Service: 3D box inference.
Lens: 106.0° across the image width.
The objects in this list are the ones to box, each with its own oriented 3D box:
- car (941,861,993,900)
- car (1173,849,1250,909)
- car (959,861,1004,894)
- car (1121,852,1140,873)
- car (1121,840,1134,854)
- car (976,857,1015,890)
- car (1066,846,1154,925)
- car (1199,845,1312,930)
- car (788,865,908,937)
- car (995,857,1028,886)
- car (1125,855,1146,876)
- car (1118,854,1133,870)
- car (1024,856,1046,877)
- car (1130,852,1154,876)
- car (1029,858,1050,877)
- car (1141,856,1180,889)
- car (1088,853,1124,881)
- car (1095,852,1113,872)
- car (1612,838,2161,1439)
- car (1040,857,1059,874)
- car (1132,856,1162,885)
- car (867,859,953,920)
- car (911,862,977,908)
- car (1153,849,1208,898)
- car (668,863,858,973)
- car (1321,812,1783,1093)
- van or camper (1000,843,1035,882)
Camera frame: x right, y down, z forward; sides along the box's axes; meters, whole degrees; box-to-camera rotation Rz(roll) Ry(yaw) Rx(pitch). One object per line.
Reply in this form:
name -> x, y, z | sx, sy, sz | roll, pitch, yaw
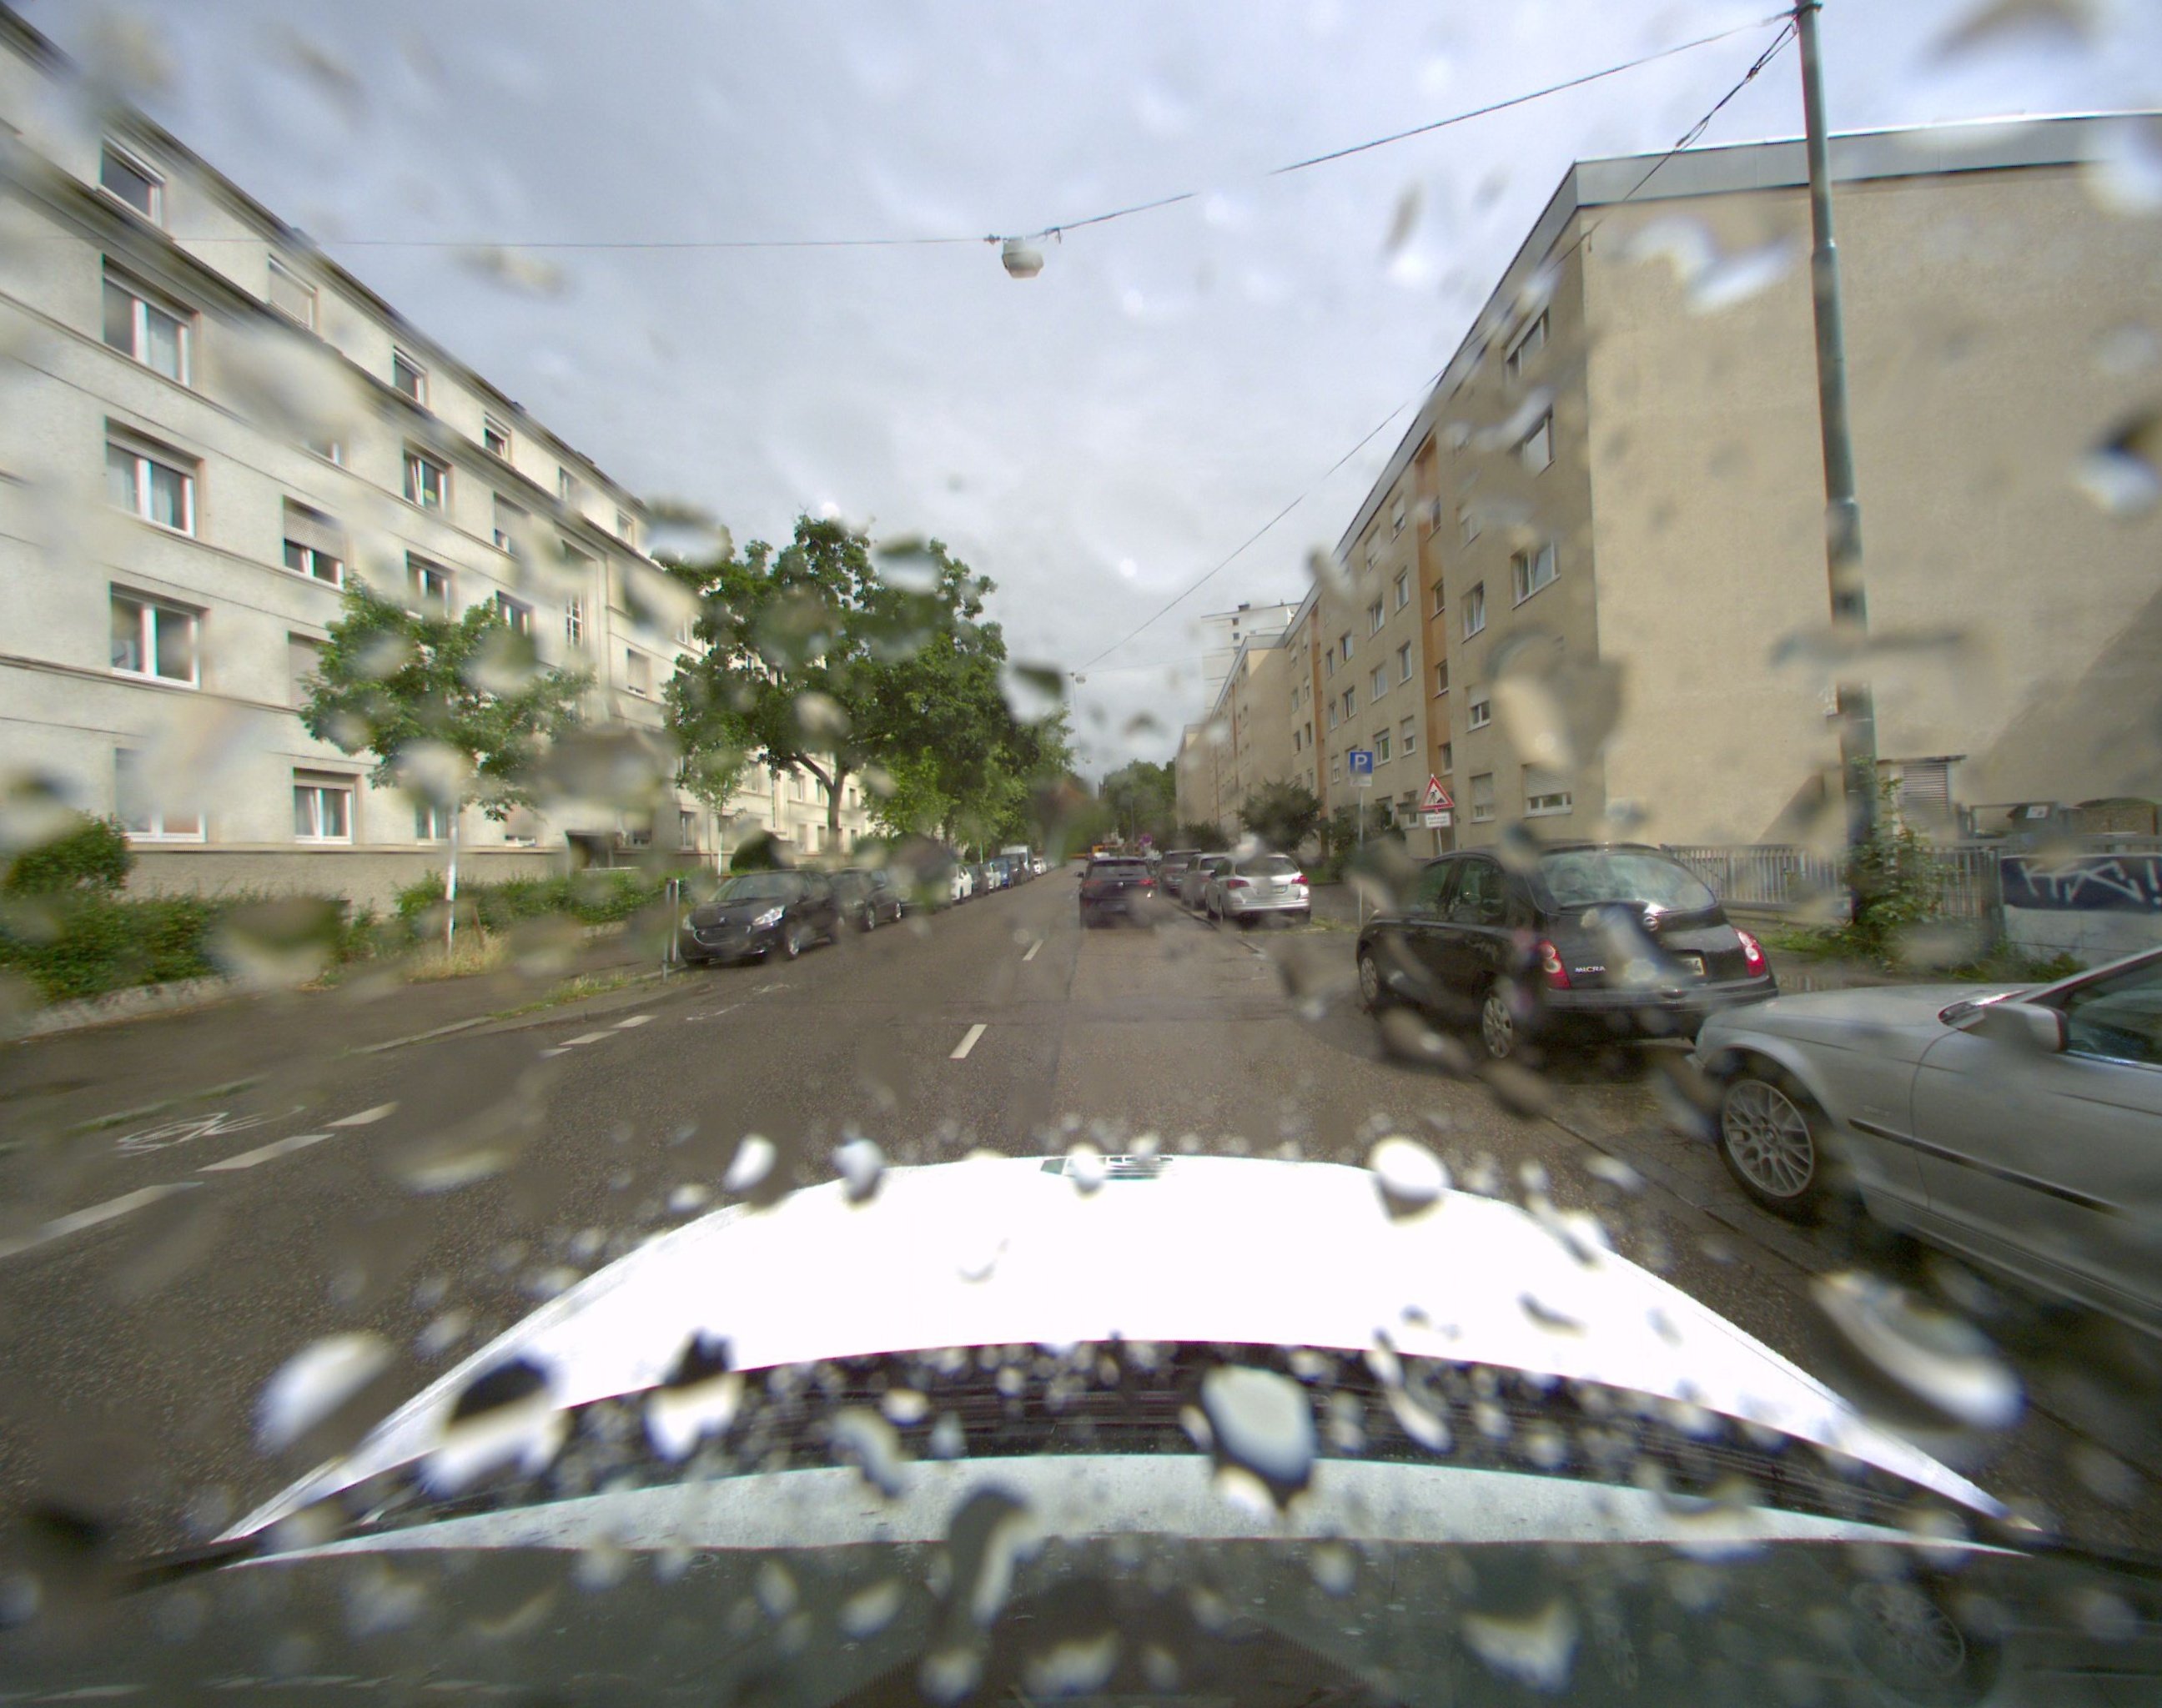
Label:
car -> -4.797, 1.084, 34.714 | 1.581, 1.418, 3.920 | -3, 0, 0
car -> 3.712, 0.687, 23.777 | 1.599, 1.505, 4.033 | -3, 0, 1
car -> -4.774, 1.083, 39.518 | 1.581, 1.418, 3.920 | -3, 0, 0
car -> 4.708, 0.772, 77.853 | 1.659, 1.838, 4.003 | -3, 0, 3
car -> 6.595, -0.963, 115.591 | 1.659, 1.838, 4.003 | -3, 0, 3
car -> -4.553, 1.010, 43.985 | 1.581, 1.639, 3.920 | -3, 0, 0
car -> 0.789, 0.666, 19.319 | 1.864, 1.645, 4.067 | -1, 0, 5
car -> 3.663, 0.657, 17.762 | 1.688, 1.539, 4.034 | -4, 0, 2
car -> -5.392, 1.026, 19.387 | 1.580, 1.418, 4.053 | -3, 0, 0
car -> -4.212, 1.046, 49.903 | 1.581, 1.639, 3.920 | -3, 0, 0
car -> 4.841, 1.000, 72.300 | 1.599, 1.765, 4.033 | -3, 0, 1
car -> 5.252, 0.929, 97.109 | 1.659, 1.838, 4.003 | -3, 0, 3
car -> -3.918, 1.067, 70.206 | 1.581, 1.639, 3.920 | -3, 0, 0
car -> 4.797, 0.795, 64.773 | 1.599, 1.765, 4.033 | -3, 0, 1
car -> -3.798, 1.236, 75.413 | 1.581, 1.639, 3.920 | -3, 0, 0
car -> 3.983, 0.923, 41.510 | 1.599, 1.505, 4.033 | -3, 0, 1
car -> 1.461, 0.734, 45.955 | 1.805, 1.503, 4.005 | 0, -1, 5
car -> 2.486, 0.874, 88.216 | 1.828, 2.103, 4.004 | 0, -1, 4
car -> 3.459, 0.676, 1.873 | 1.710, 1.452, 4.259 | -1, 0, 0
car -> -3.226, 1.163, 83.950 | 1.581, 1.639, 3.920 | -3, 0, 0
car -> 4.360, 1.083, 54.321 | 1.599, 1.765, 4.033 | -3, 0, 1
car -> -4.957, 0.973, 24.155 | 1.580, 1.576, 4.014 | -3, 0, 0
car -> -4.852, 1.044, 29.246 | 1.581, 1.418, 3.920 | -3, 0, 0
car -> 3.749, 0.722, 31.299 | 1.599, 1.672, 4.033 | -3, 0, 1
car -> -5.284, 0.968, 14.119 | 1.580, 1.505, 4.064 | -3, 0, 0
car -> 3.425, 0.581, 6.903 | 1.599, 1.661, 4.032 | -1, 0, 0
van or camper -> -4.299, 0.577, 56.022 | 1.796, 2.493, 5.020 | -3, 0, 0
